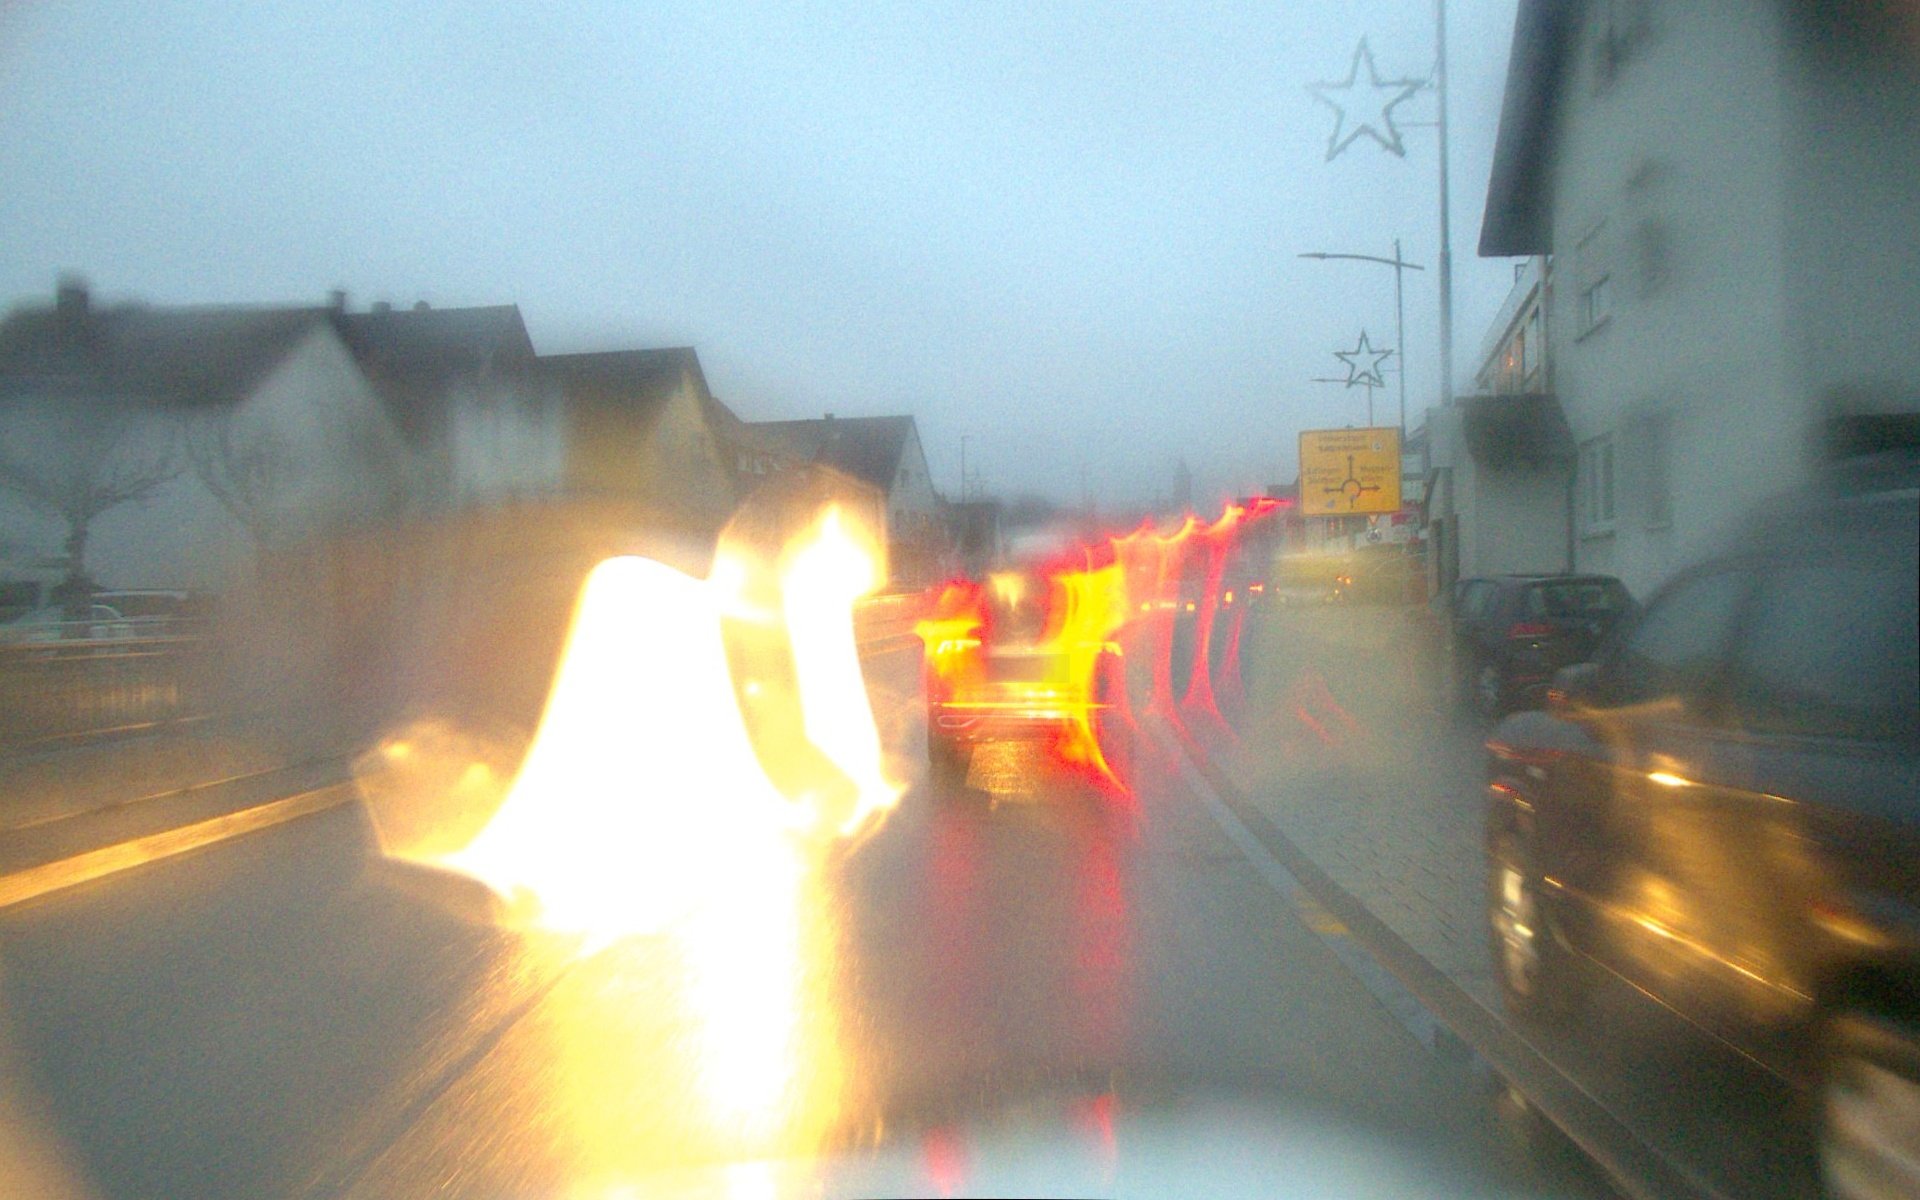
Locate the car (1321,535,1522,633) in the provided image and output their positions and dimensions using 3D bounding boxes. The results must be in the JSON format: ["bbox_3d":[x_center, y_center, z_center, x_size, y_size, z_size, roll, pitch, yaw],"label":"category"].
[{"bbox_3d":[10.659,-0.371,38.456,4.090,1.666,1.805,-8,0,5],"label":"car"}]

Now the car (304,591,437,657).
[{"bbox_3d":[-16.842,0.643,47.473,1.870,1.712,4.221,-1,1,7],"label":"car"}]

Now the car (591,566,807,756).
[{"bbox_3d":[-2.467,0.520,16.390,1.629,1.664,3.550,0,0,-1],"label":"car"}]

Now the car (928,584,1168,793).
[{"bbox_3d":[0.669,0.693,15.489,1.924,1.622,4.312,0,1,-1],"label":"car"}]

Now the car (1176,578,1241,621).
[{"bbox_3d":[8.849,-0.057,58.770,1.951,1.416,4.004,-1,1,13],"label":"car"}]

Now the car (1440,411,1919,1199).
[{"bbox_3d":[2.704,0.494,4.481,1.733,1.813,4.002,-4,0,3],"label":"car"}]

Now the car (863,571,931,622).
[{"bbox_3d":[-2.588,-0.144,67.076,2.003,1.959,4.042,-2,1,-14],"label":"car"}]

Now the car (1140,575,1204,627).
[{"bbox_3d":[6.274,-0.003,48.616,1.775,1.436,4.004,0,1,9],"label":"car"}]

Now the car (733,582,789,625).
[{"bbox_3d":[-8.096,0.107,67.088,1.790,1.641,4.042,-2,1,-14],"label":"car"}]

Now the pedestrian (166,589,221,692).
[{"bbox_3d":[-13.004,0.676,28.080,0.649,1.727,0.542,0,0,9],"label":"pedestrian"}]

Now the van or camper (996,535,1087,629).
[{"bbox_3d":[2.630,-0.574,51.927,2.192,2.715,6.561,-1,1,8],"label":"van or camper"}]

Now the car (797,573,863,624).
[{"bbox_3d":[-5.279,-0.085,66.630,2.003,1.959,4.042,-2,1,-14],"label":"car"}]

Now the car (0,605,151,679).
[{"bbox_3d":[-18.681,0.841,34.655,1.451,1.452,3.462,-1,0,7],"label":"car"}]

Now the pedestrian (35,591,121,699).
[{"bbox_3d":[-15.064,0.752,28.263,0.908,1.815,0.974,0,0,4],"label":"pedestrian"}]

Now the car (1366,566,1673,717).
[{"bbox_3d":[6.100,0.405,18.542,1.731,1.418,3.909,-3,0,-6],"label":"car"}]

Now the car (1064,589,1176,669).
[{"bbox_3d":[3.243,0.524,32.890,1.646,1.478,4.003,0,0,14],"label":"car"}]

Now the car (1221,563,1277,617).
[{"bbox_3d":[11.959,-0.421,68.656,2.112,2.025,4.503,-4,0,9],"label":"car"}]

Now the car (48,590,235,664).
[{"bbox_3d":[-21.307,0.695,43.146,3.903,1.723,1.865,-2,1,5],"label":"car"}]
